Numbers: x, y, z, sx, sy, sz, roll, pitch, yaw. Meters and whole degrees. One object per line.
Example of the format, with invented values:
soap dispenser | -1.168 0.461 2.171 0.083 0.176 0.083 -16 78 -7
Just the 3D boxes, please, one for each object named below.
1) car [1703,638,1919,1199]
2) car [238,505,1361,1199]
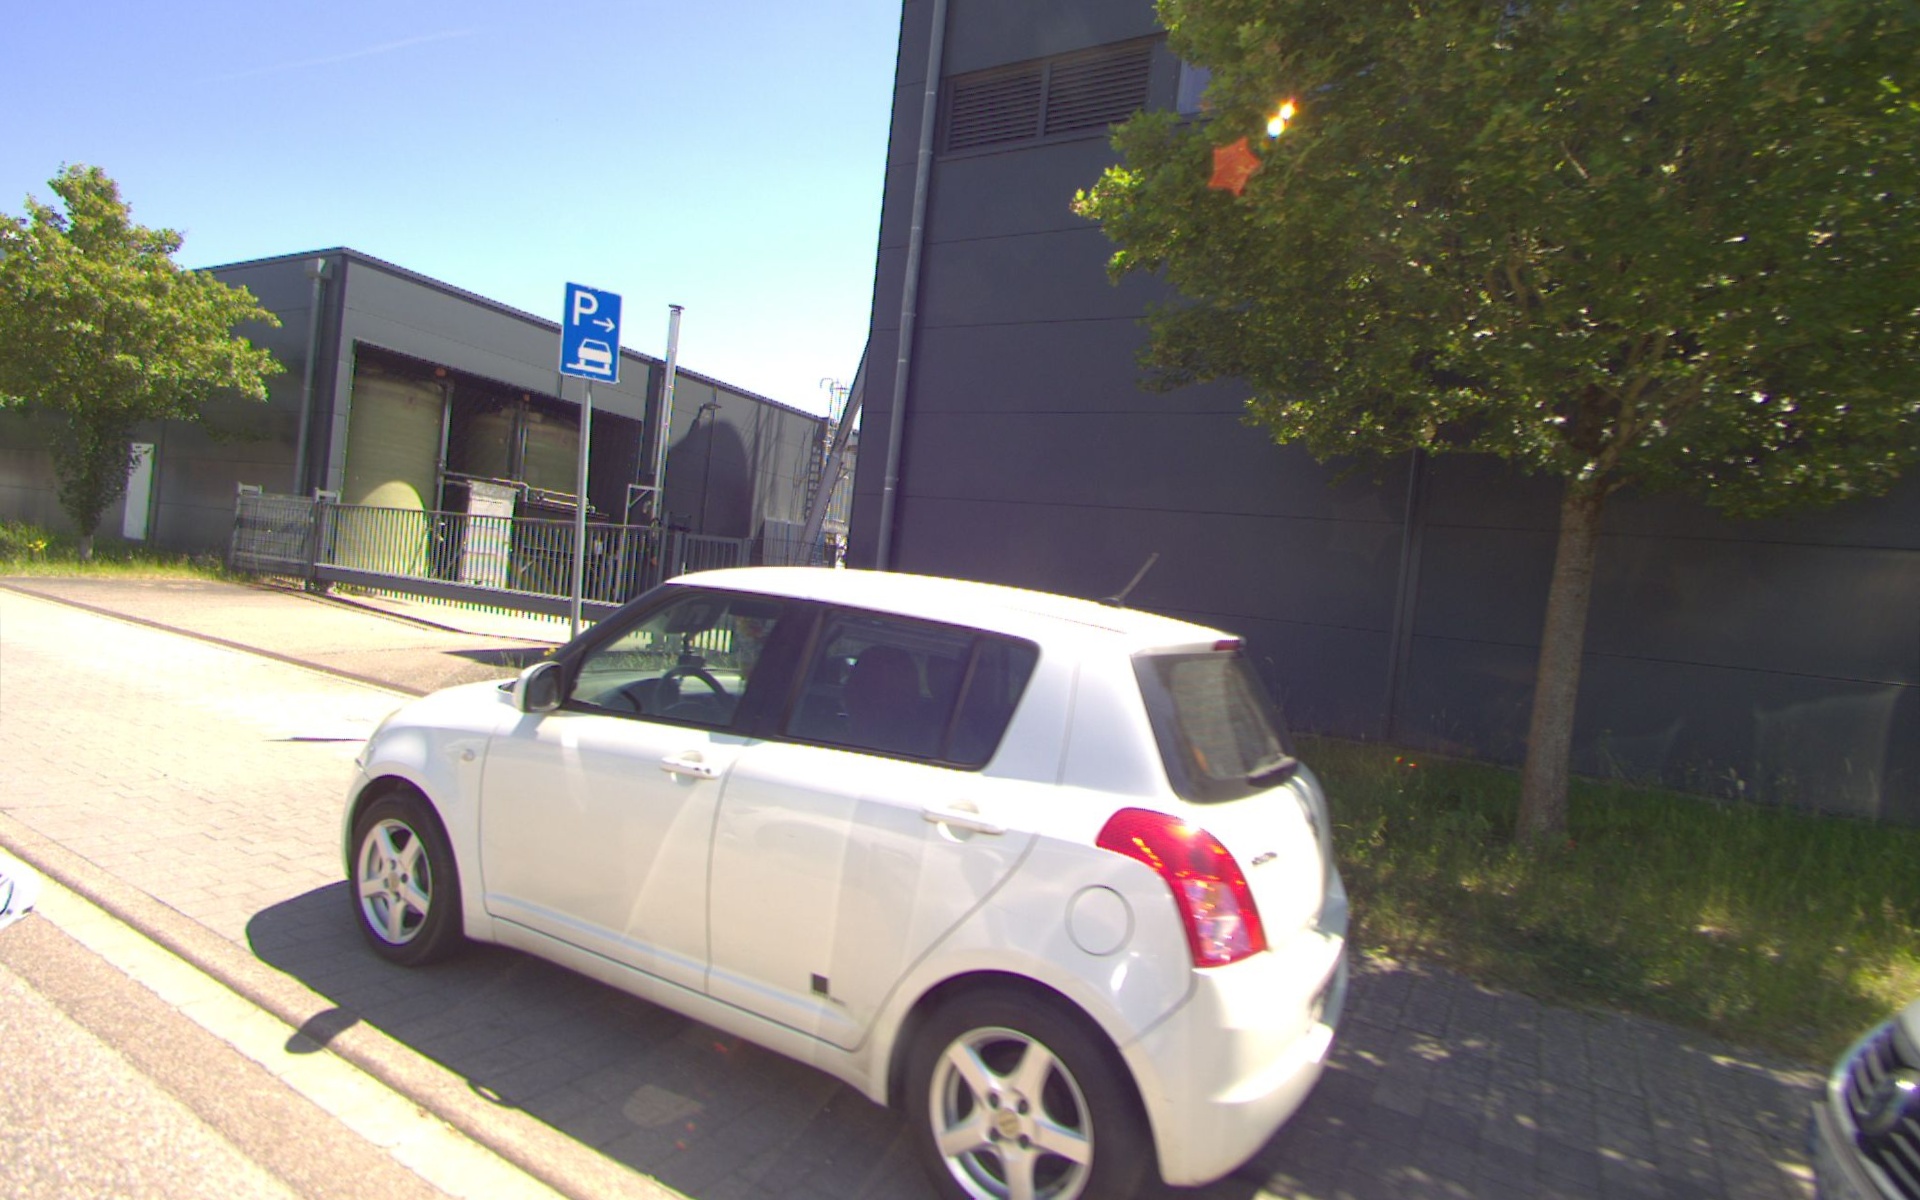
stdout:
car | 3.650 1.073 0.968 4.431 1.582 1.749 6 1 31
car | -0.694 0.606 3.635 3.681 1.488 1.638 7 2 29
